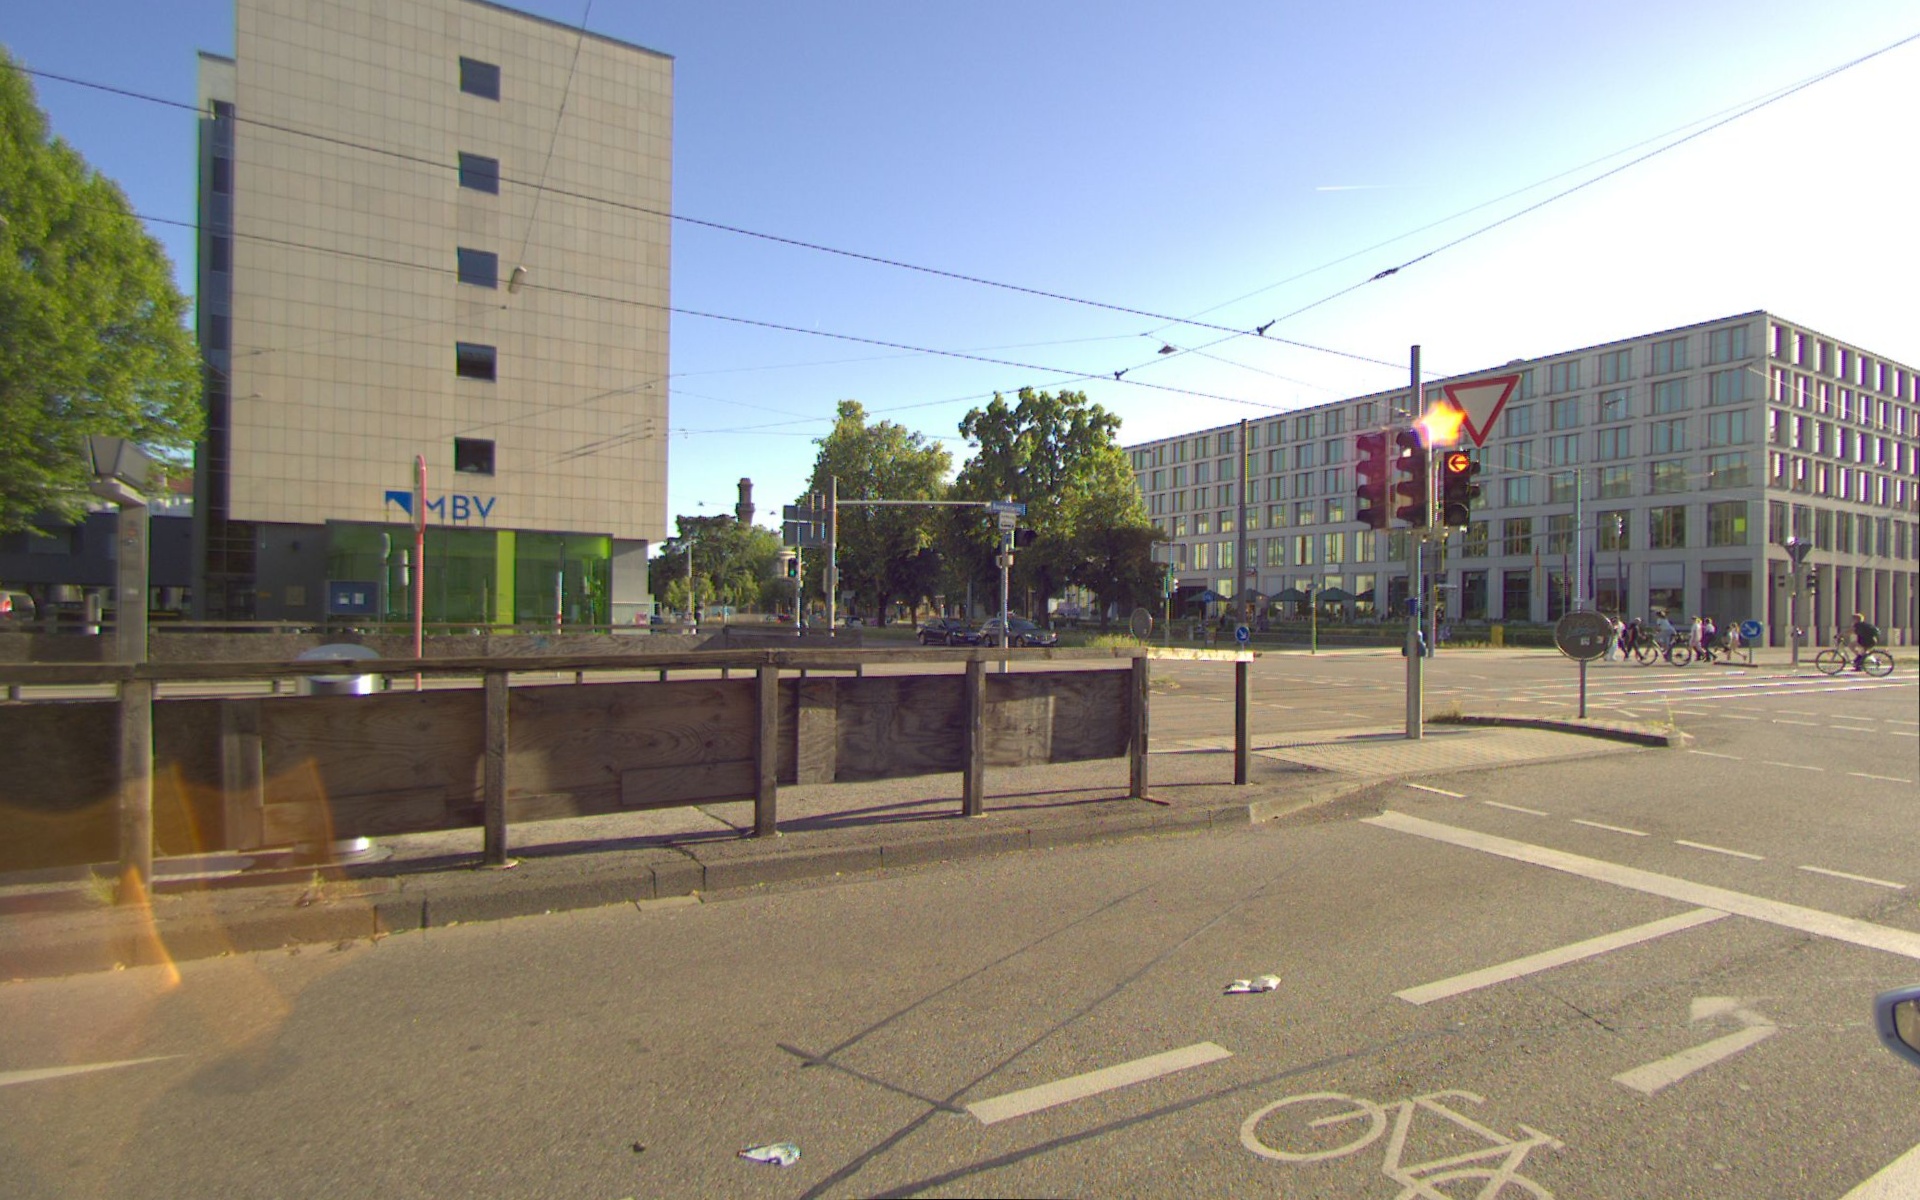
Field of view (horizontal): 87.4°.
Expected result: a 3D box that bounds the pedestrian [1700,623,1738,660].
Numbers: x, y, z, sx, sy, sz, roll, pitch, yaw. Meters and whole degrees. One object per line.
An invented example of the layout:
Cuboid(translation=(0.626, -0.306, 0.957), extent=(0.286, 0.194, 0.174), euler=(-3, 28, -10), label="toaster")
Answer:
Cuboid(translation=(28.337, 1.547, 37.522), extent=(0.760, 1.335, 0.986), euler=(1, -1, -39), label="pedestrian")

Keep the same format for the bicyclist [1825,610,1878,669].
Cuboid(translation=(25.557, 1.119, 28.797), extent=(0.591, 1.662, 1.066), euler=(1, -1, -37), label="bicyclist")

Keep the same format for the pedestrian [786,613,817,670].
Cuboid(translation=(-4.908, 1.265, 31.125), extent=(0.814, 1.739, 0.757), euler=(1, -1, -18), label="pedestrian")

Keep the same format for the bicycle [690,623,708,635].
Cuboid(translation=(-21.198, 2.373, 81.529), extent=(0.818, 0.973, 2.132), euler=(1, -1, -31), label="bicycle")

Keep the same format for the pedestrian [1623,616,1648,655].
Cuboid(translation=(28.939, 1.524, 43.043), extent=(0.612, 1.666, 0.692), euler=(1, -1, -23), label="pedestrian")

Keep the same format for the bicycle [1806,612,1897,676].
Cuboid(translation=(25.537, 1.235, 28.814), extent=(0.591, 1.758, 1.883), euler=(1, -1, -37), label="bicycle")

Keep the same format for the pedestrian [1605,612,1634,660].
Cuboid(translation=(27.252, 1.472, 41.507), extent=(0.628, 1.943, 0.800), euler=(1, -1, -24), label="pedestrian")

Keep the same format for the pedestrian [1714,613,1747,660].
Cuboid(translation=(30.253, 1.422, 39.449), extent=(0.525, 1.827, 0.867), euler=(1, -1, -24), label="pedestrian")

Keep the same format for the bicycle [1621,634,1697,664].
Cuboid(translation=(23.141, 1.616, 33.296), extent=(0.568, 0.945, 2.055), euler=(1, -1, -30), label="bicycle")

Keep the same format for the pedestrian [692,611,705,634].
Cuboid(translation=(-21.197, 1.831, 81.548), extent=(0.818, 1.829, 0.754), euler=(1, -1, -31), label="pedestrian")

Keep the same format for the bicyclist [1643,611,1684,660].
Cuboid(translation=(23.208, 1.172, 33.147), extent=(0.568, 1.581, 0.970), euler=(1, -1, -30), label="bicyclist")

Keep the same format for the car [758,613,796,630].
Cuboid(translation=(-17.618, 2.069, 96.489), extent=(1.978, 1.433, 4.710), euler=(4, -2, -31), label="car")

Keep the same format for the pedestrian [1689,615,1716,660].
Cuboid(translation=(30.584, 1.548, 41.366), extent=(0.525, 1.827, 0.737), euler=(1, -1, -24), label="pedestrian")

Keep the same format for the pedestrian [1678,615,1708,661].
Cuboid(translation=(29.690, 1.540, 40.680), extent=(0.706, 1.827, 0.737), euler=(1, -1, -24), label="pedestrian")

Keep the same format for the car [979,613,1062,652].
Cuboid(translation=(2.818, 1.522, 47.822), extent=(1.829, 1.602, 4.496), euler=(1, 1, -28), label="car")

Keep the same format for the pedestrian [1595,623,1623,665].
Cuboid(translation=(26.356, 1.772, 40.810), extent=(0.615, 1.666, 0.787), euler=(1, -1, -34), label="pedestrian")

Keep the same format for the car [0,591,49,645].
Cuboid(translation=(-27.725, 0.457, 27.756), extent=(3.371, 1.431, 1.562), euler=(2, 0, -20), label="car")

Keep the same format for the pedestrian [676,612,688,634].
Cuboid(translation=(-22.254, 1.847, 80.395), extent=(0.666, 1.739, 0.754), euler=(1, -1, -32), label="pedestrian")

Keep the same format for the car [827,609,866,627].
Cuboid(translation=(-9.344, 1.478, 82.349), extent=(1.614, 1.452, 4.021), euler=(3, -2, -31), label="car")

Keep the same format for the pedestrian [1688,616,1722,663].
Cuboid(translation=(29.242, 1.533, 39.425), extent=(0.654, 1.827, 0.868), euler=(1, -1, -24), label="pedestrian")

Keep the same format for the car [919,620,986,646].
Cuboid(translation=(-0.452, 1.750, 53.426), extent=(1.755, 1.311, 4.209), euler=(1, -1, -30), label="car")

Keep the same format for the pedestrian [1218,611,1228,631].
Cuboid(translation=(22.381, 1.763, 85.504), extent=(0.556, 1.691, 0.537), euler=(2, 0, -33), label="pedestrian")

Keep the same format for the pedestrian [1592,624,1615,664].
Cuboid(translation=(27.405, 1.861, 42.807), extent=(0.617, 1.666, 0.688), euler=(1, -1, -42), label="pedestrian")

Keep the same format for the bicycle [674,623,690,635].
Cuboid(translation=(-22.290, 2.334, 80.436), extent=(0.669, 0.973, 2.131), euler=(1, -1, -32), label="bicycle")
